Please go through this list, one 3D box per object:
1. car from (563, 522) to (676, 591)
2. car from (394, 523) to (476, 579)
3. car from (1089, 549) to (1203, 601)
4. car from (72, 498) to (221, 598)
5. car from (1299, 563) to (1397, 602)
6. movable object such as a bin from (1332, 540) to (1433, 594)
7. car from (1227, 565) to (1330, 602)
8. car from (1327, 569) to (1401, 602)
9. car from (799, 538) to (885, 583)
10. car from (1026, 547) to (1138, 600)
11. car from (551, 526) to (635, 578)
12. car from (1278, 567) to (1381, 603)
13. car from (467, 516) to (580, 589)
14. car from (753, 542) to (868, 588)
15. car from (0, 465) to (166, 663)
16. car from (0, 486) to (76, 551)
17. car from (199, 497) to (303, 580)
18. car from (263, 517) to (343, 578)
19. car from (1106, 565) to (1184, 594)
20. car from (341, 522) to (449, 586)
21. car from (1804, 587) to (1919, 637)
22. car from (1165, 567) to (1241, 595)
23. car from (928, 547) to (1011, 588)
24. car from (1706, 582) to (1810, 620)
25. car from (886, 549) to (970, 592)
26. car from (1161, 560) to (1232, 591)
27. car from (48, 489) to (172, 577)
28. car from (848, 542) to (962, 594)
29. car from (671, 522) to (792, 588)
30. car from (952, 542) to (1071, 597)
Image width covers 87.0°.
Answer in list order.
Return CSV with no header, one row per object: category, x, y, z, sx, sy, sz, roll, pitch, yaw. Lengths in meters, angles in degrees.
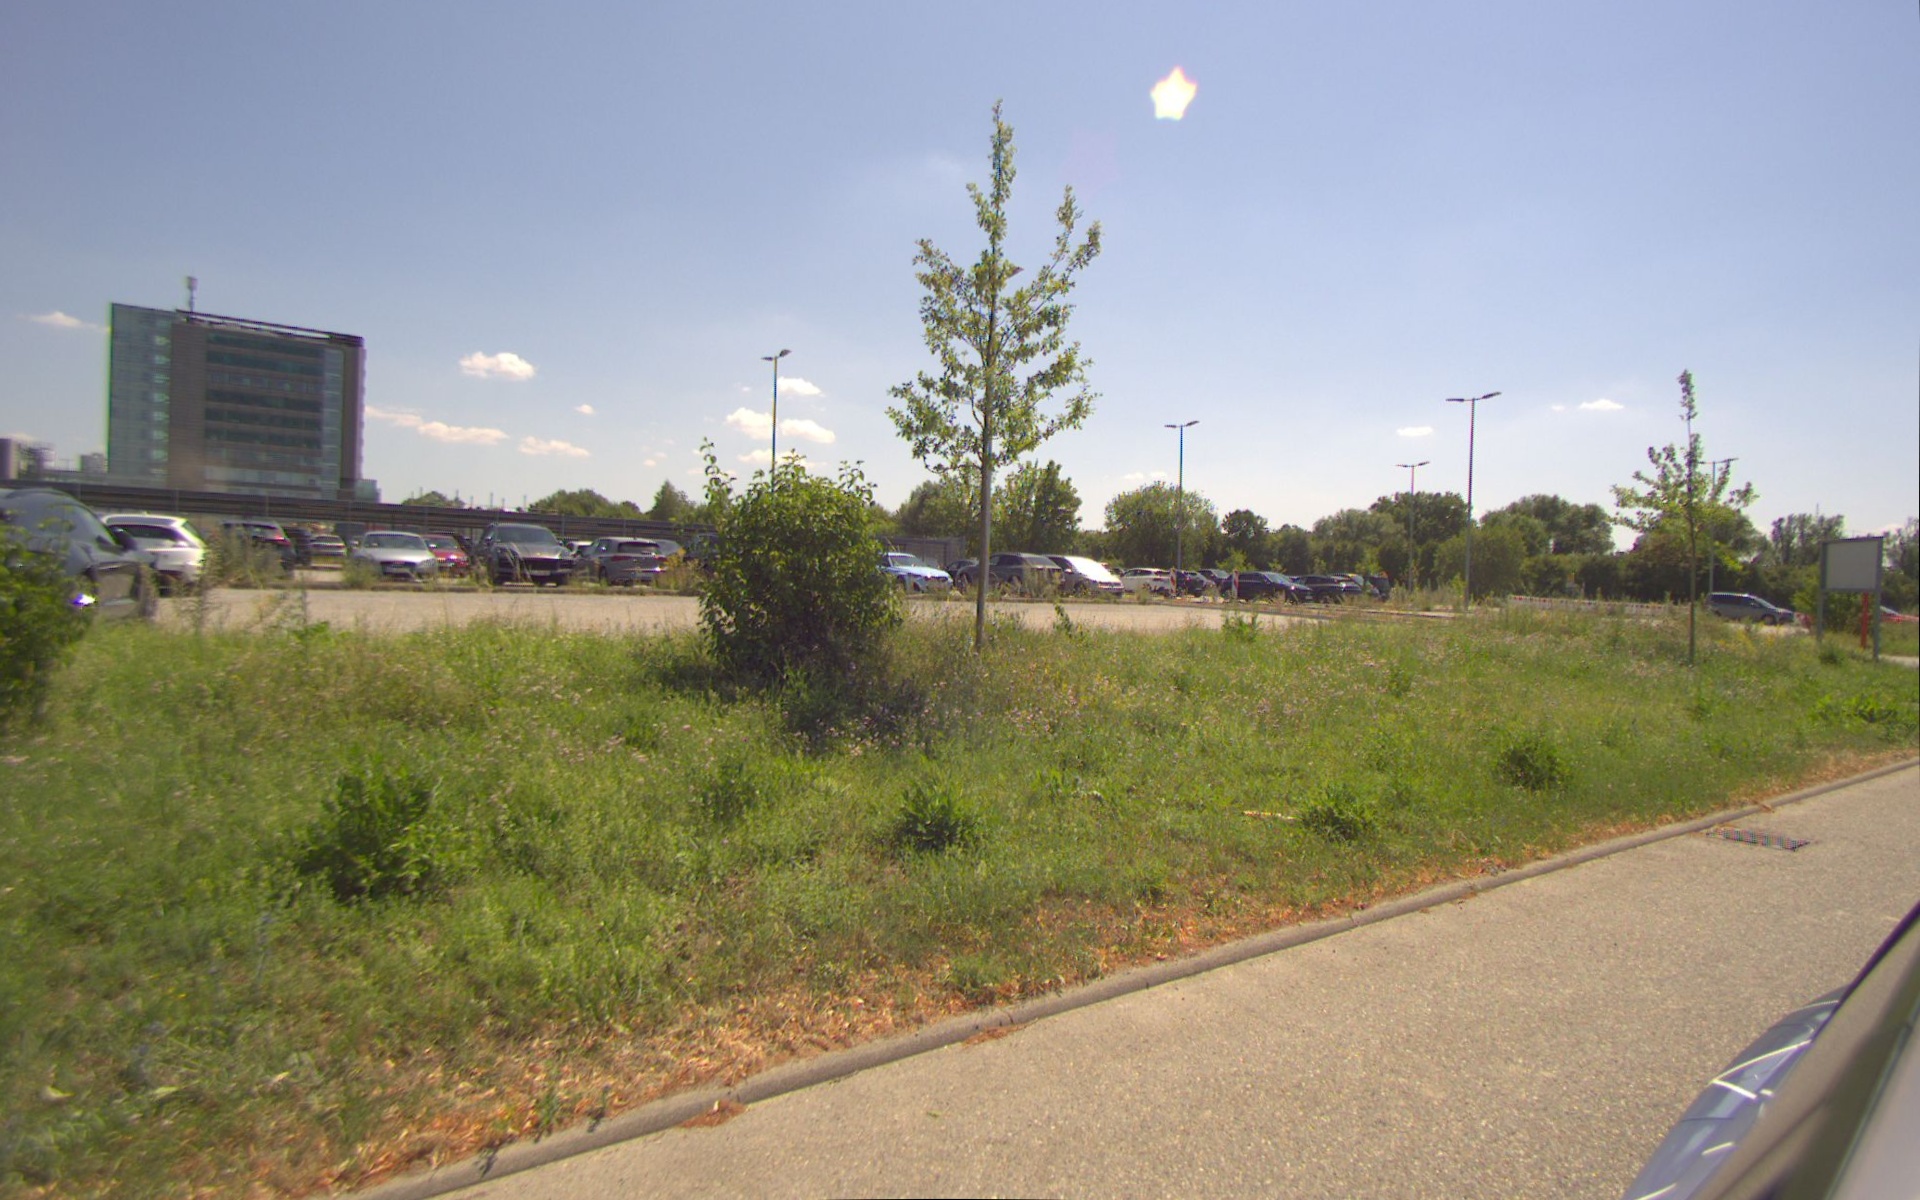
car,-9.606,-1.254,28.352,1.735,1.615,4.001,5,1,-37
car,-17.901,-1.705,34.415,1.735,1.615,4.001,5,1,-37
car,6.928,-0.950,38.020,1.735,1.615,4.001,5,1,-37
car,-14.155,-0.941,17.806,1.735,1.418,4.002,5,1,-36
car,18.641,-0.877,48.711,1.890,1.661,4.003,1,2,-34
movable object such as a bin,38.184,-2.994,91.848,8.013,4.094,2.966,6,0,21
car,13.962,-0.744,44.529,1.890,1.412,4.003,1,3,-34
car,25.947,-0.947,65.130,1.725,1.779,4.001,3,2,-36
car,-5.057,-1.690,43.087,1.735,1.615,4.001,5,1,-37
car,4.483,-1.016,37.545,1.735,1.615,4.001,5,1,-37
car,-13.555,-1.804,37.251,1.735,1.615,4.001,5,1,-37
car,16.640,-0.682,45.737,1.890,1.412,4.003,1,3,-34
car,-11.479,-1.283,26.472,1.735,1.615,4.001,5,1,-37
car,-4.651,-1.098,31.080,1.735,1.122,4.001,5,1,-37
car,-8.694,-0.458,9.035,1.883,1.418,4.725,5,1,-32
car,-26.690,-2.348,28.906,1.735,1.615,4.001,5,1,-37
car,-16.493,-1.444,23.471,1.735,1.615,4.001,5,1,-37
car,-20.561,-1.669,31.608,1.735,1.615,4.001,5,1,-37
car,9.873,-1.124,54.333,1.665,1.357,3.999,1,3,-38
car,-13.956,-1.175,24.901,1.735,1.287,4.001,5,1,-37
car,36.731,0.460,40.593,1.890,1.745,4.003,1,2,-34
car,13.721,-1.097,57.279,1.665,1.357,3.999,1,3,-38
car,0.415,-1.541,47.900,1.735,1.615,4.001,5,1,-37
car,48.037,0.022,60.973,1.903,1.938,4.480,3,2,-35
car,-1.504,-1.377,46.051,1.735,1.615,4.001,5,1,-37
car,15.479,-1.635,66.293,3.991,1.660,1.967,6,1,44
car,-18.469,-1.471,22.139,1.735,1.615,4.001,5,1,-37
car,-1.890,-1.088,33.607,1.735,1.410,4.001,5,1,-37
car,-6.700,-1.337,29.388,1.826,1.615,4.001,5,1,-37
car,1.778,-1.133,36.206,1.735,1.615,4.381,5,1,-37
